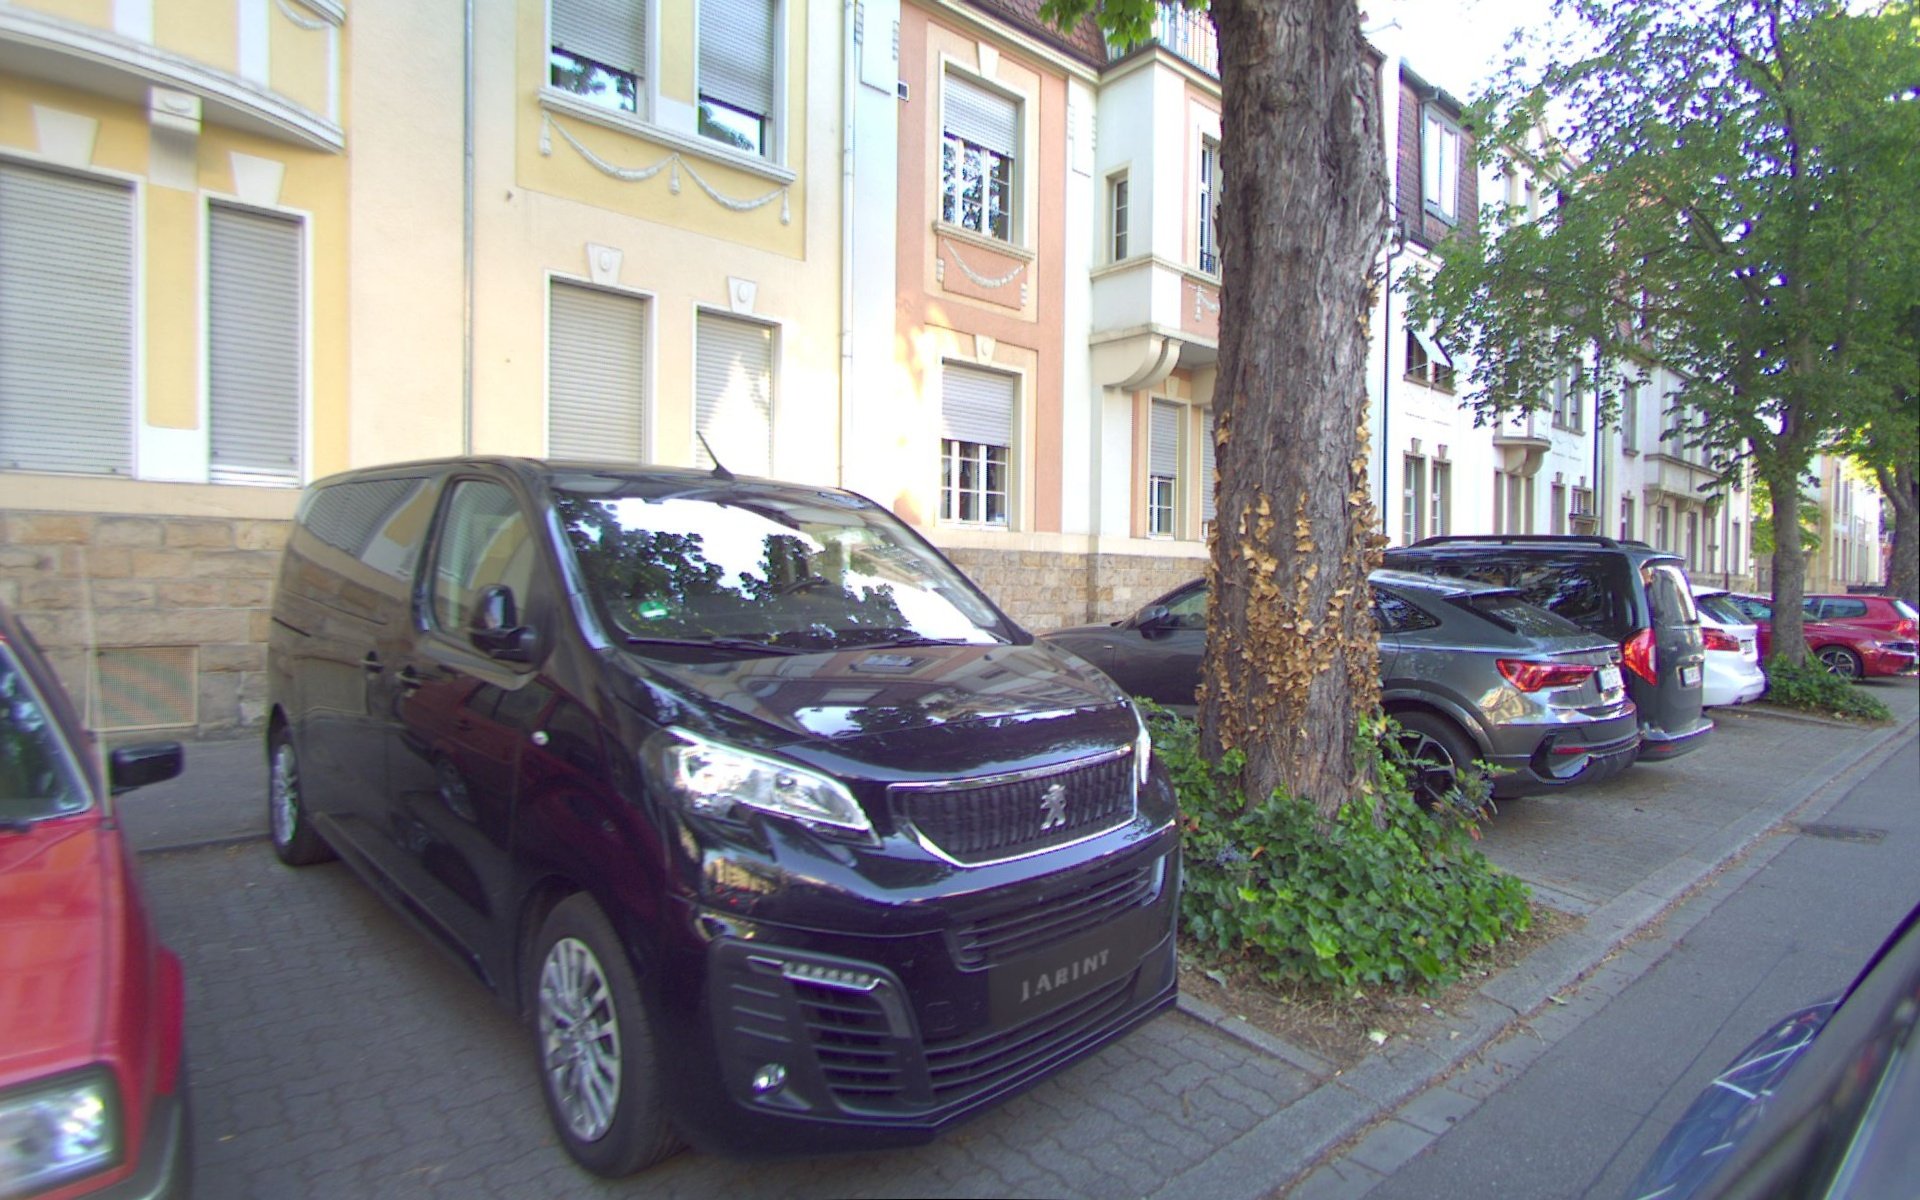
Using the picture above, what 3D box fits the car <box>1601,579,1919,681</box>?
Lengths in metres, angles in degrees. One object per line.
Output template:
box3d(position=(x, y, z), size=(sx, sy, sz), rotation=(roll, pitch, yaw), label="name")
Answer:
box3d(position=(14.388, 0.431, 18.128), size=(1.833, 1.470, 4.533), rotation=(0, 3, -38), label="car")

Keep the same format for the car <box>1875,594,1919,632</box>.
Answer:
box3d(position=(31.491, 0.470, 32.141), size=(1.515, 1.164, 3.400), rotation=(0, 3, -39), label="car")

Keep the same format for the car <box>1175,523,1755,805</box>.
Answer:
box3d(position=(4.126, 0.332, 8.805), size=(1.813, 1.860, 4.116), rotation=(0, 3, -42), label="car")

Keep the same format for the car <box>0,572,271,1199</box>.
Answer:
box3d(position=(-3.228, 0.635, 2.704), size=(1.603, 1.332, 4.140), rotation=(-1, 3, -44), label="car")

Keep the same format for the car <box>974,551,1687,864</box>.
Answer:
box3d(position=(2.340, 0.457, 7.347), size=(1.815, 1.542, 4.513), rotation=(-1, 3, -44), label="car")

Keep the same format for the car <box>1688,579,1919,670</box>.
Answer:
box3d(position=(16.497, 0.407, 19.485), size=(1.628, 1.499, 3.682), rotation=(0, 2, -38), label="car")

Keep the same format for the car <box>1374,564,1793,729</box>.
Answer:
box3d(position=(7.309, 0.408, 12.186), size=(1.689, 1.597, 3.948), rotation=(0, 3, -41), label="car")

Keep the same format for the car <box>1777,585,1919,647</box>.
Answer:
box3d(position=(23.557, 0.391, 26.042), size=(1.548, 1.416, 3.681), rotation=(0, 3, -39), label="car")

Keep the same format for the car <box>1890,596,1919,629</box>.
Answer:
box3d(position=(33.870, 0.474, 34.205), size=(1.515, 1.076, 3.400), rotation=(0, 3, -39), label="car")

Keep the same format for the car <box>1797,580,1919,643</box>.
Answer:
box3d(position=(25.469, 0.307, 27.703), size=(1.548, 1.576, 3.681), rotation=(0, 2, -39), label="car")

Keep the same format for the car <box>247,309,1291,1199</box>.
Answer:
box3d(position=(-1.329, 0.336, 4.132), size=(1.867, 1.897, 4.753), rotation=(-1, 3, -44), label="car")

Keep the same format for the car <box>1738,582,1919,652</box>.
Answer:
box3d(position=(21.452, 0.363, 24.642), size=(1.548, 1.484, 3.681), rotation=(0, 3, -39), label="car")
